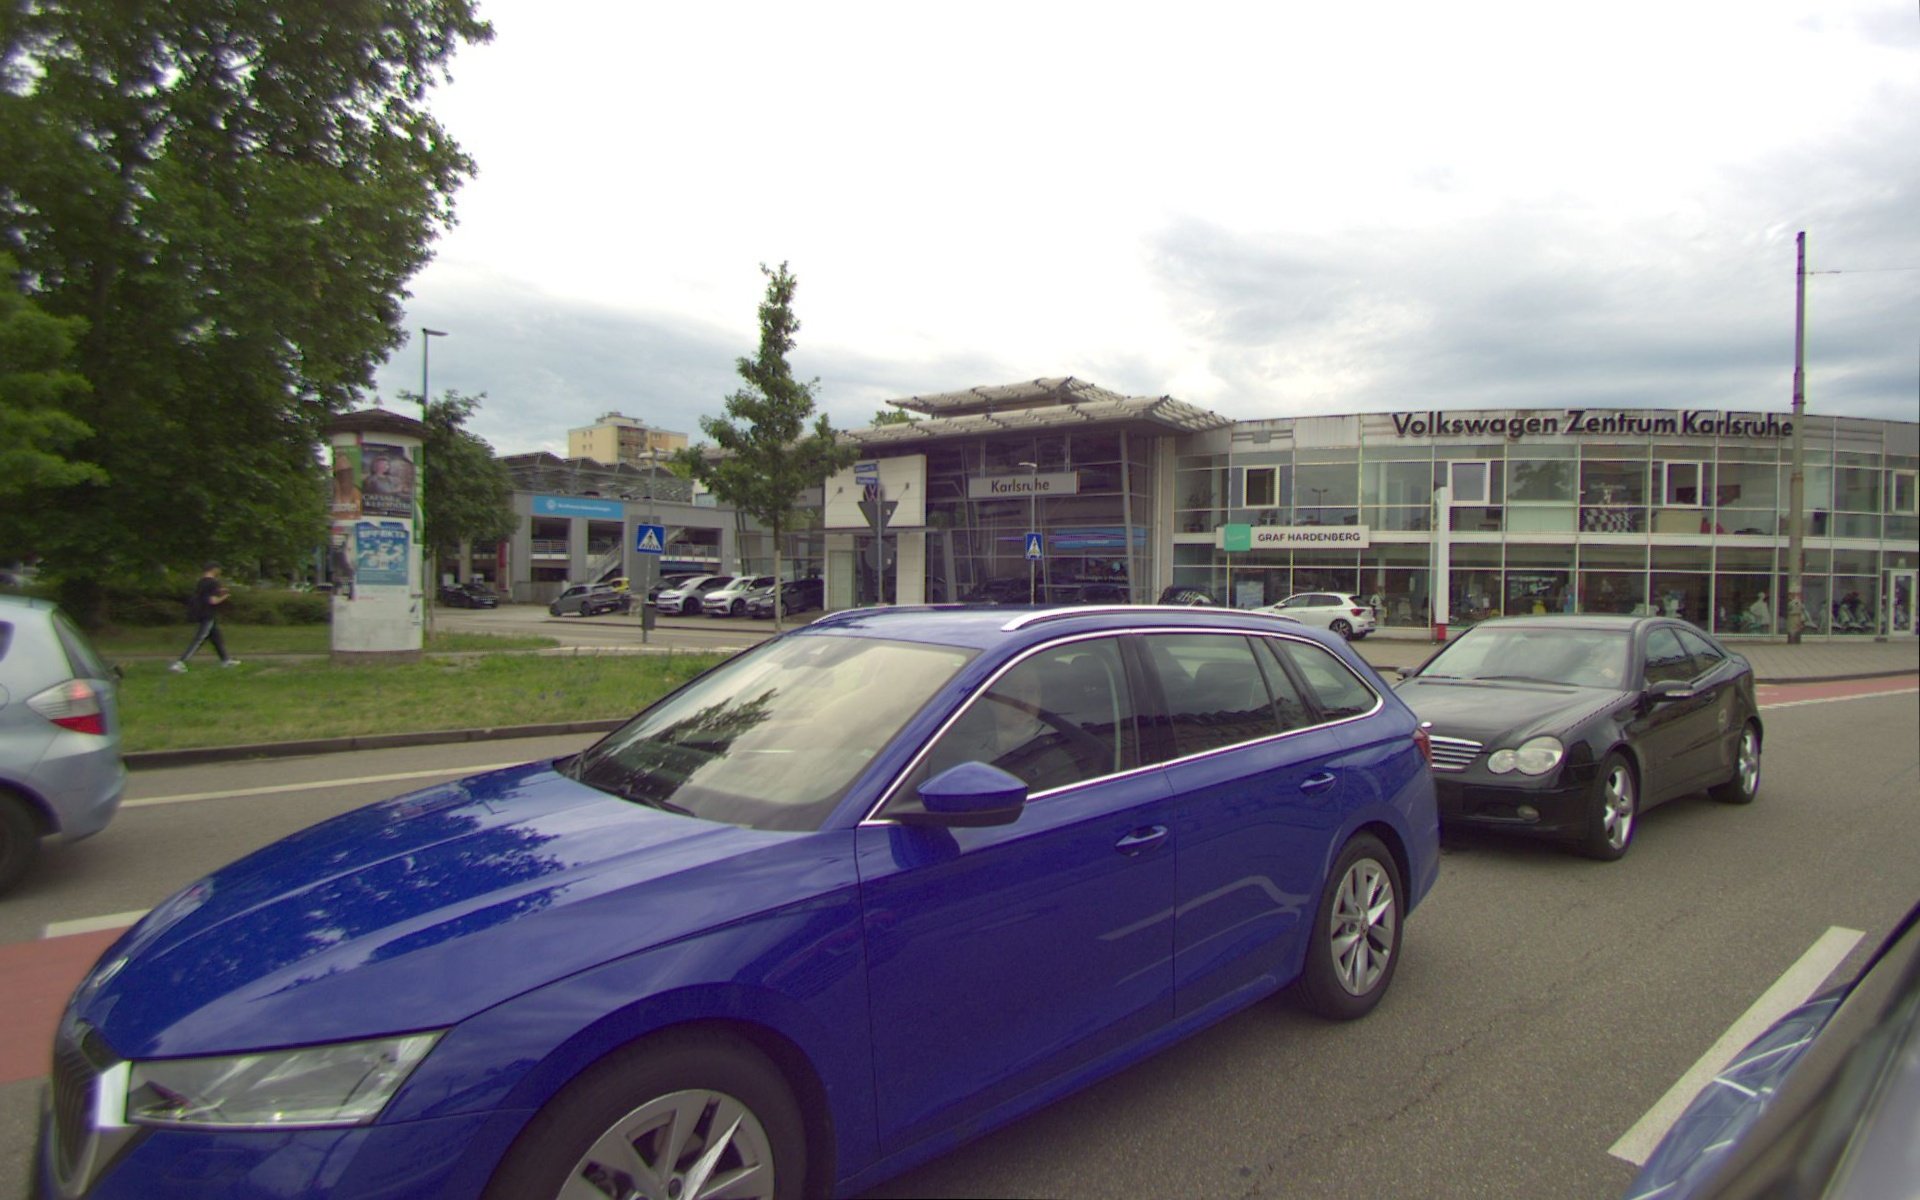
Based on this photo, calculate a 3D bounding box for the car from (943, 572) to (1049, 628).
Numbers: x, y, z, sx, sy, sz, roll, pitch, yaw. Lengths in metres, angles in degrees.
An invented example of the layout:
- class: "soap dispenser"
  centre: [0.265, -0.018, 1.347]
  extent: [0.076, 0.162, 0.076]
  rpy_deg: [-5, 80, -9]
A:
- class: "car"
  centre: [1.360, -0.048, 35.875]
  extent: [1.846, 1.652, 4.464]
  rpy_deg: [0, 4, 31]

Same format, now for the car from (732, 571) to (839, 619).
- class: "car"
  centre: [-7.323, -0.244, 42.851]
  extent: [1.886, 1.717, 4.421]
  rpy_deg: [0, 4, 36]

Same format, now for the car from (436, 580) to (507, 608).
- class: "car"
  centre: [-28.994, -0.392, 60.048]
  extent: [4.446, 1.567, 1.876]
  rpy_deg: [2, 2, 35]

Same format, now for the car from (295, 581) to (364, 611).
- class: "car"
  centre: [-37.071, -0.276, 59.501]
  extent: [4.446, 1.643, 1.838]
  rpy_deg: [2, 2, 35]

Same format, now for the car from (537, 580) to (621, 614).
- class: "car"
  centre: [-18.645, -0.156, 49.497]
  extent: [3.988, 1.583, 1.896]
  rpy_deg: [0, 2, 35]

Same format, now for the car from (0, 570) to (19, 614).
- class: "car"
  centre: [-36.506, -0.322, 36.333]
  extent: [4.408, 1.567, 1.854]
  rpy_deg: [1, 1, 13]

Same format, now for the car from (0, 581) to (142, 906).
- class: "car"
  centre: [-6.123, 0.652, 4.332]
  extent: [4.027, 1.485, 1.752]
  rpy_deg: [0, 1, -41]

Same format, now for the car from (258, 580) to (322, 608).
- class: "car"
  centre: [-41.726, -0.403, 62.975]
  extent: [4.446, 1.643, 1.838]
  rpy_deg: [2, 2, 35]

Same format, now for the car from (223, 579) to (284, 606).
- class: "car"
  centre: [-46.035, -0.507, 65.905]
  extent: [4.446, 1.643, 1.838]
  rpy_deg: [2, 2, 35]

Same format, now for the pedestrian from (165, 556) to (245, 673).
- class: "pedestrian"
  centre: [-12.437, 0.222, 16.701]
  extent: [0.527, 1.867, 0.985]
  rpy_deg: [1, 1, 6]

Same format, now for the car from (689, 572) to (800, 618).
- class: "car"
  centre: [-9.406, -0.269, 44.596]
  extent: [1.850, 1.719, 4.716]
  rpy_deg: [0, 4, 36]

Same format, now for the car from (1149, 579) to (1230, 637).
- class: "car"
  centre: [7.351, 0.193, 32.741]
  extent: [1.867, 1.581, 4.219]
  rpy_deg: [1, 3, 4]

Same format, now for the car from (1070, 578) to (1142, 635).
- class: "car"
  centre: [4.703, 0.159, 33.127]
  extent: [1.824, 1.522, 4.340]
  rpy_deg: [0, 4, 2]

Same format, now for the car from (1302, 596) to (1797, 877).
- class: "car"
  centre: [4.339, 0.708, 7.214]
  extent: [3.996, 1.439, 1.714]
  rpy_deg: [0, 1, -39]

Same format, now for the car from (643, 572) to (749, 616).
- class: "car"
  centre: [-11.987, -0.324, 46.190]
  extent: [1.859, 1.719, 4.419]
  rpy_deg: [0, 4, 37]

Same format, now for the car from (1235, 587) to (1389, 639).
- class: "car"
  centre: [11.007, 0.360, 31.794]
  extent: [4.243, 1.471, 1.757]
  rpy_deg: [1, 1, 40]

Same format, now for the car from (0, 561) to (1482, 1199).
- class: "car"
  centre: [-0.120, 0.662, 3.353]
  extent: [4.387, 1.507, 1.783]
  rpy_deg: [-1, 2, -41]
